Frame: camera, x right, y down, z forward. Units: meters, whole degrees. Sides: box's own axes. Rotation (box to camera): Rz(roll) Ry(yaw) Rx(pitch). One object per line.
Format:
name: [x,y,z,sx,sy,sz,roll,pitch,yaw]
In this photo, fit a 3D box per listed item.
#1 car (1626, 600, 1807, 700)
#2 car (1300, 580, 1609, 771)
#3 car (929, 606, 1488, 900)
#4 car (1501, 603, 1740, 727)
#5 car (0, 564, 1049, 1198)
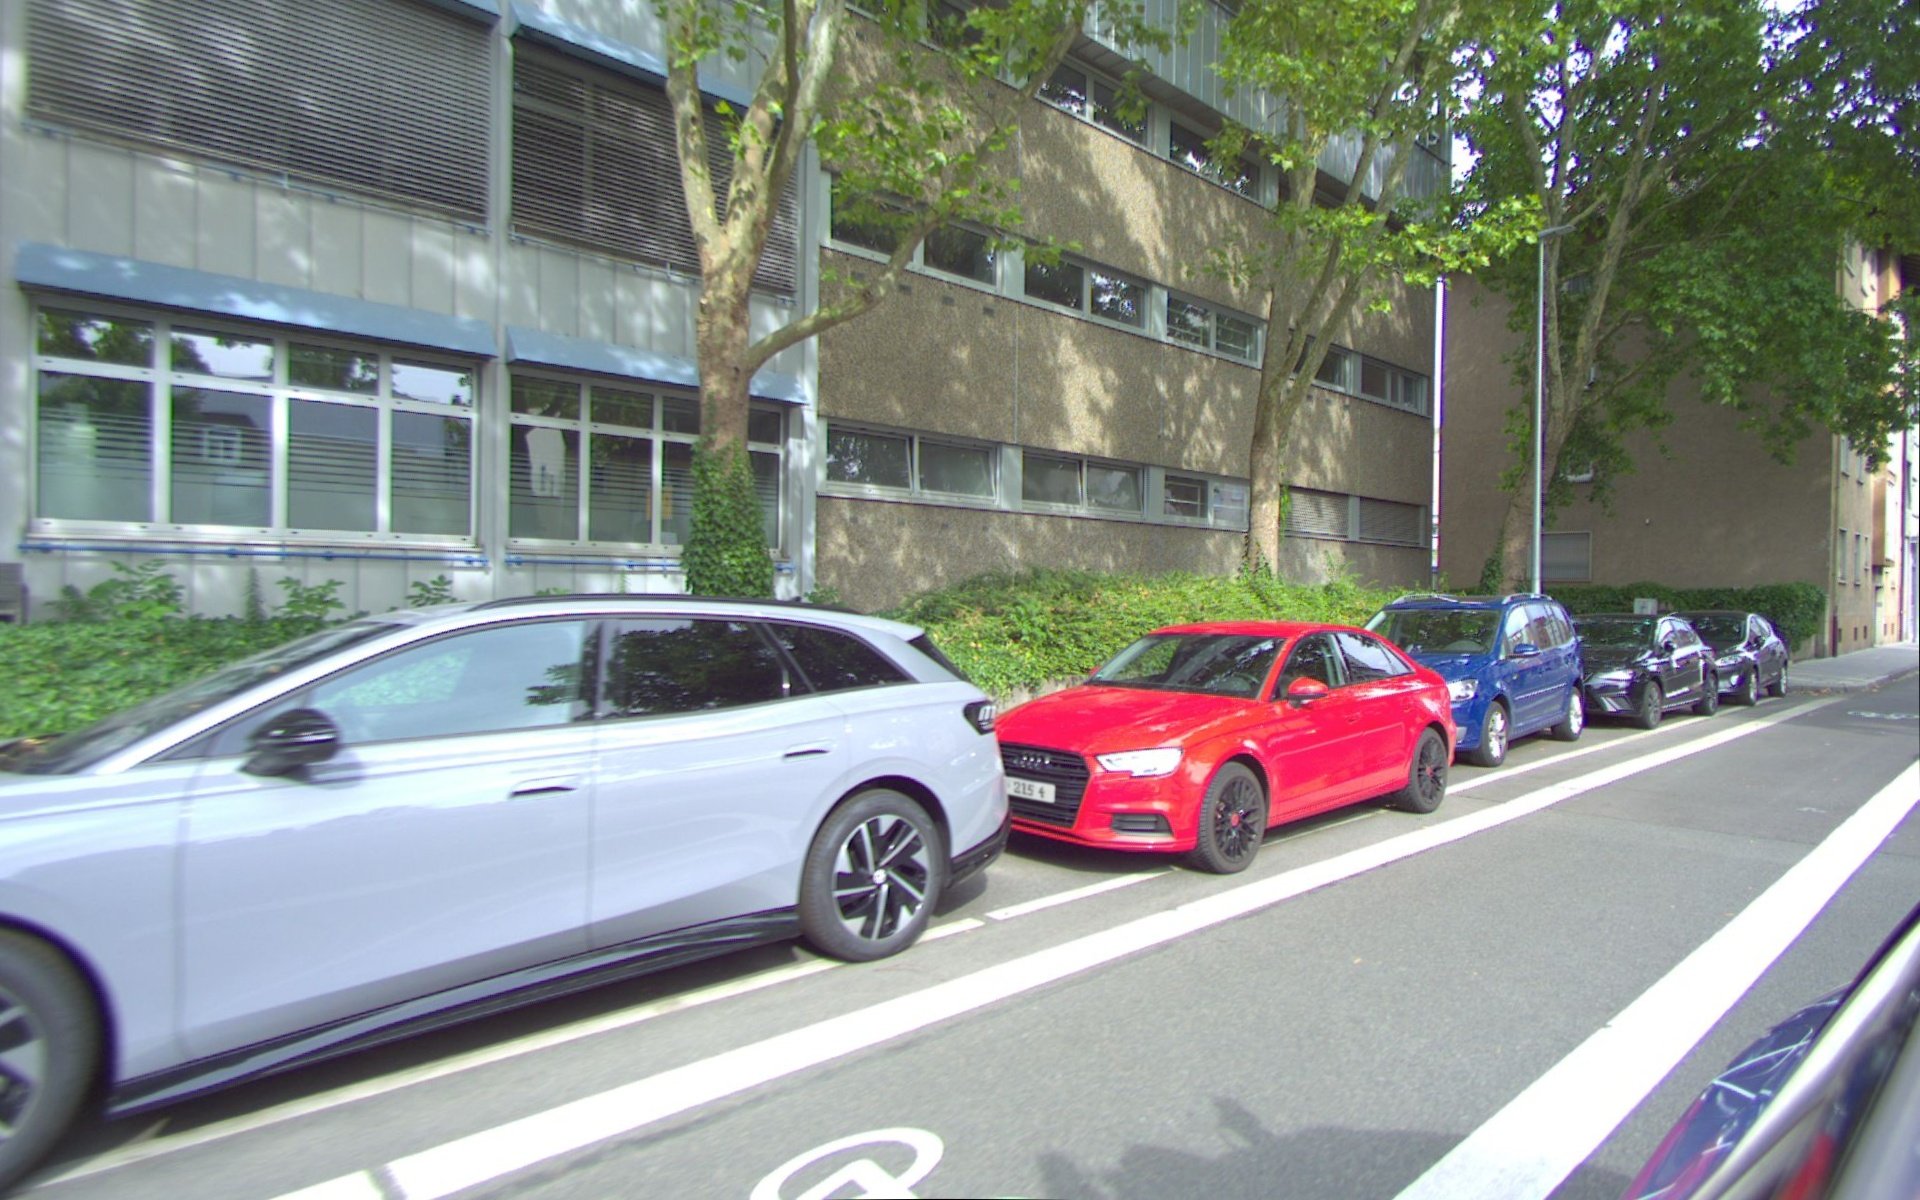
car: [12.660,0.775,16.853,3.799,1.440,1.660,1,0,-41]
car: [5.505,0.675,10.984,4.346,1.672,1.659,0,-1,-44]
car: [1.991,0.779,7.167,4.384,1.411,1.678,0,1,-42]
car: [9.117,0.789,13.865,3.876,1.440,1.661,1,0,-39]
car: [-1.910,0.678,4.002,4.787,1.536,1.730,0,0,-42]
